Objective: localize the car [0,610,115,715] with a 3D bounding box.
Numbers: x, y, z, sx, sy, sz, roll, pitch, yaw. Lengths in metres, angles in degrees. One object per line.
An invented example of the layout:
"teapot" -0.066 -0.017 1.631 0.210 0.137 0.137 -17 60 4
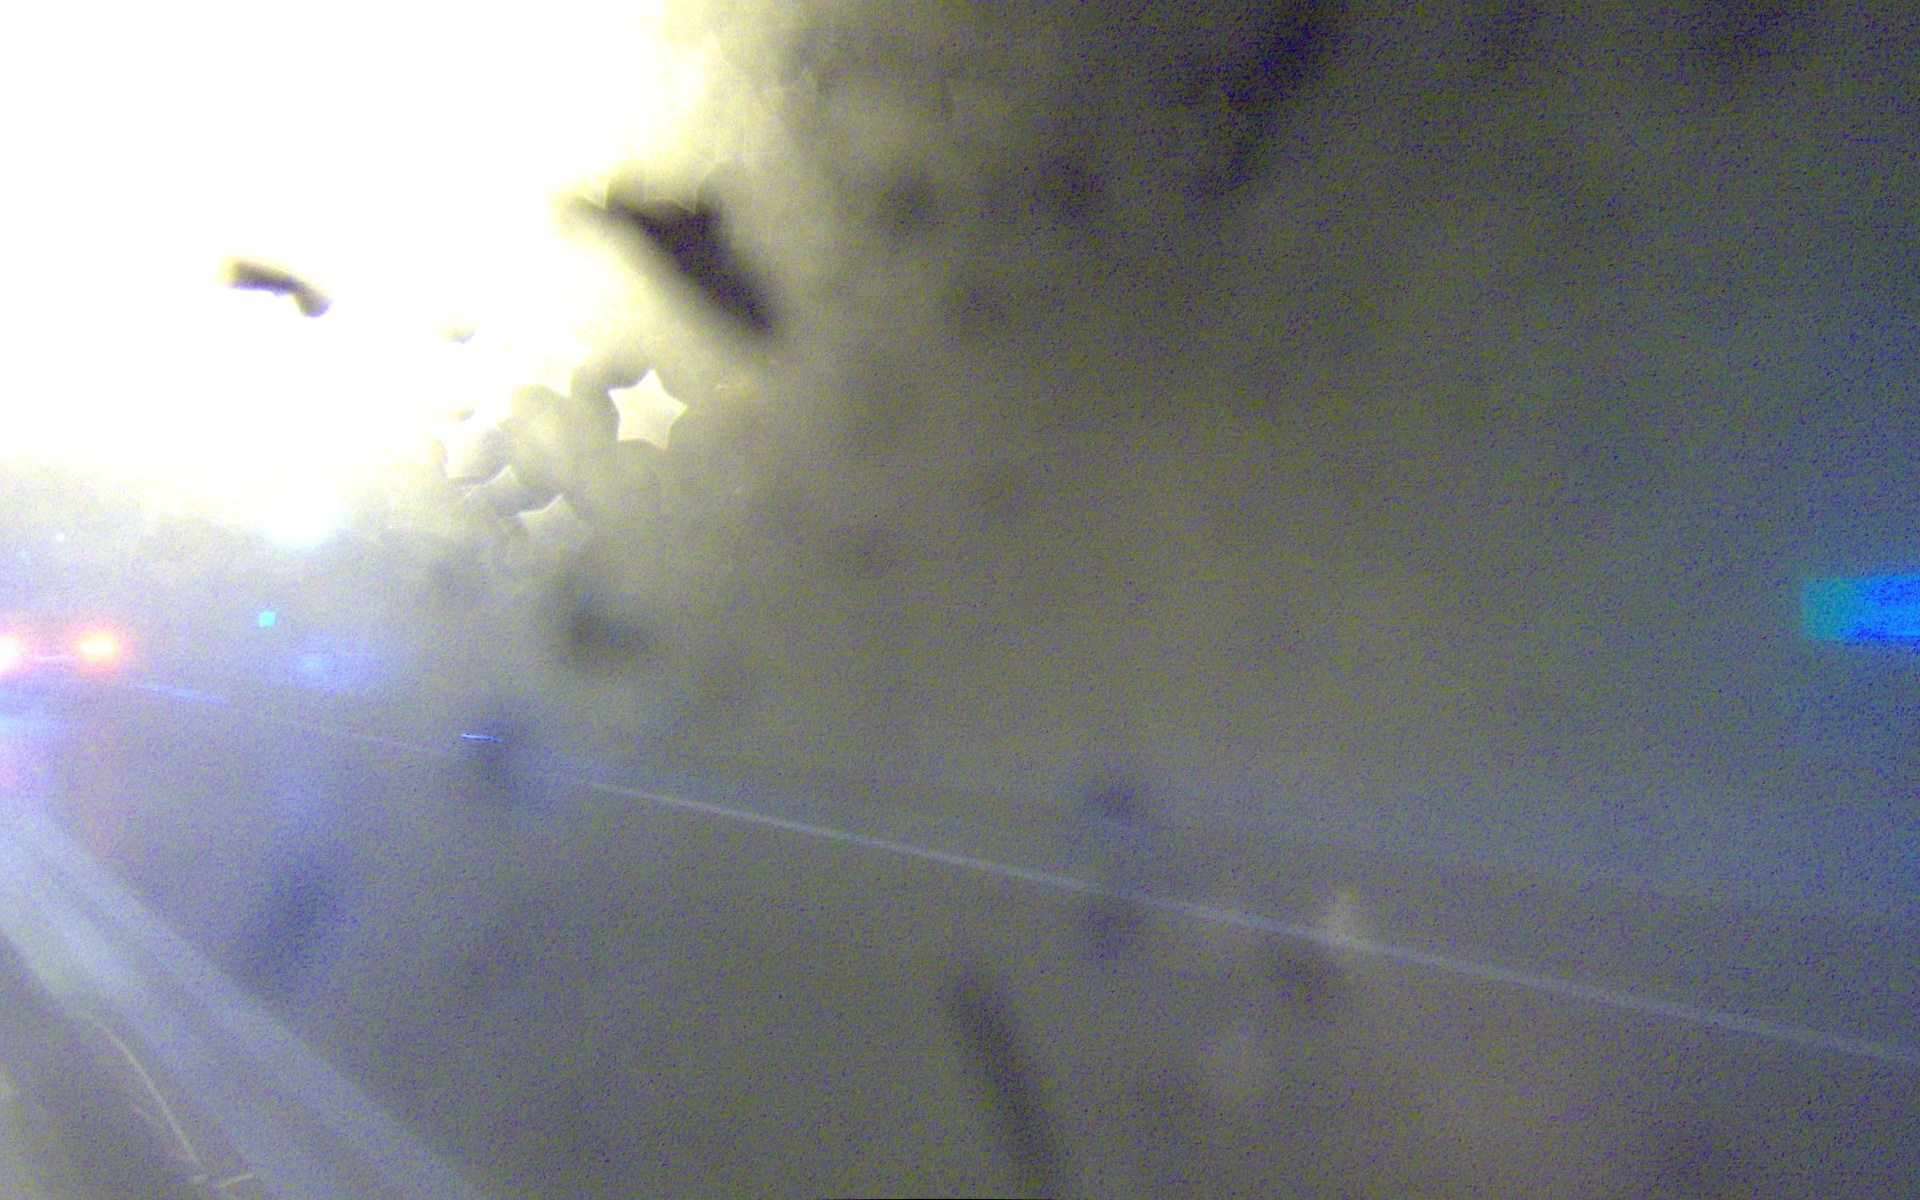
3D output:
"car" -16.104 1.017 17.612 3.583 1.625 1.607 -1 0 41
